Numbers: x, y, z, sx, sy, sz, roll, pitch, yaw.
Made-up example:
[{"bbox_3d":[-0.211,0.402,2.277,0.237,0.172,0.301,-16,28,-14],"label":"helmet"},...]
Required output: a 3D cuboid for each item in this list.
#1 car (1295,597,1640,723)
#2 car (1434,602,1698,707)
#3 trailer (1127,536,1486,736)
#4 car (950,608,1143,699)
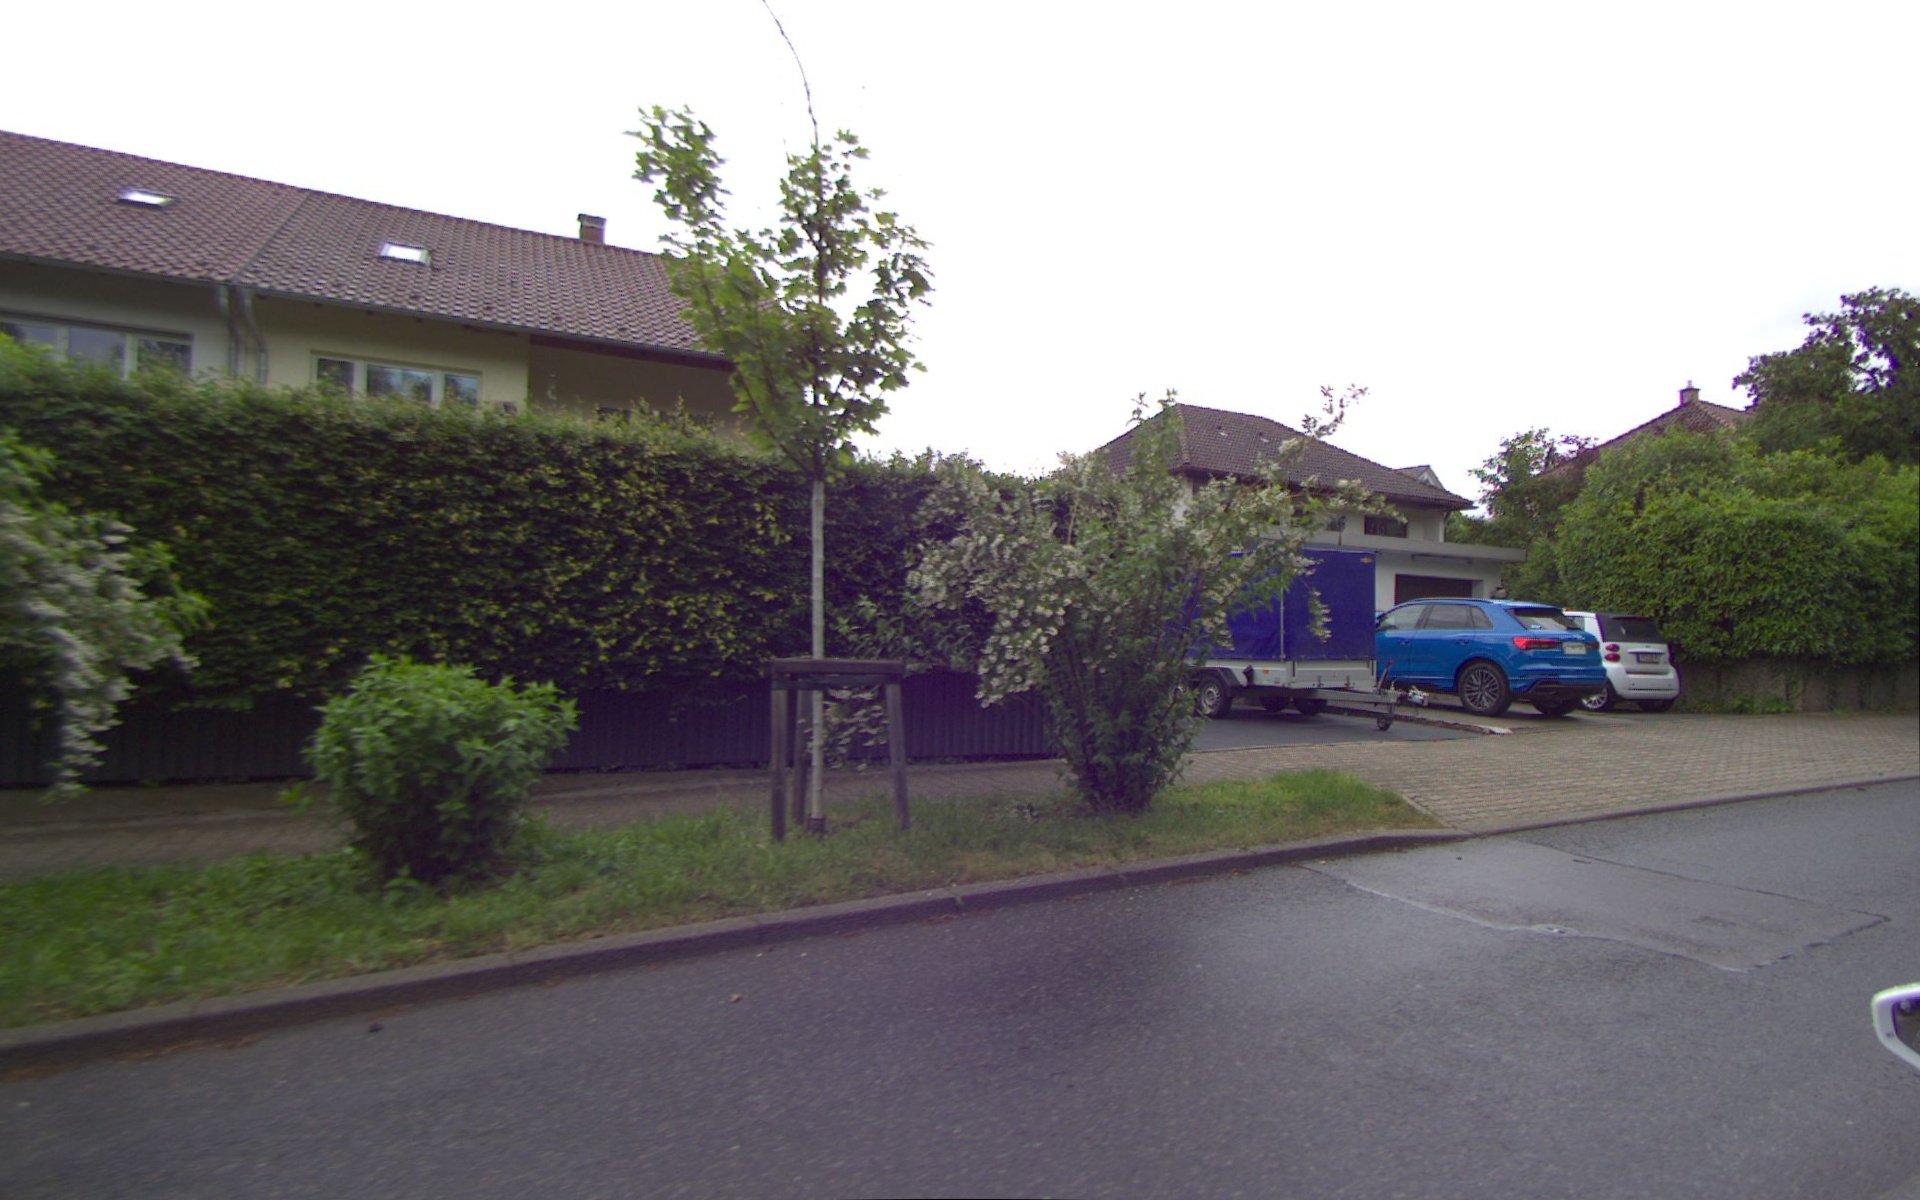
[{"bbox_3d":[7.342,0.771,15.014,2.026,1.560,4.222,1,0,-27],"label":"car"},{"bbox_3d":[10.004,0.828,16.827,1.709,1.539,3.390,1,0,-27],"label":"car"},{"bbox_3d":[4.368,0.400,13.512,1.792,2.200,4.603,1,0,-27],"label":"trailer"},{"bbox_3d":[1.474,0.911,18.578,1.809,1.448,3.834,1,0,-27],"label":"car"}]
